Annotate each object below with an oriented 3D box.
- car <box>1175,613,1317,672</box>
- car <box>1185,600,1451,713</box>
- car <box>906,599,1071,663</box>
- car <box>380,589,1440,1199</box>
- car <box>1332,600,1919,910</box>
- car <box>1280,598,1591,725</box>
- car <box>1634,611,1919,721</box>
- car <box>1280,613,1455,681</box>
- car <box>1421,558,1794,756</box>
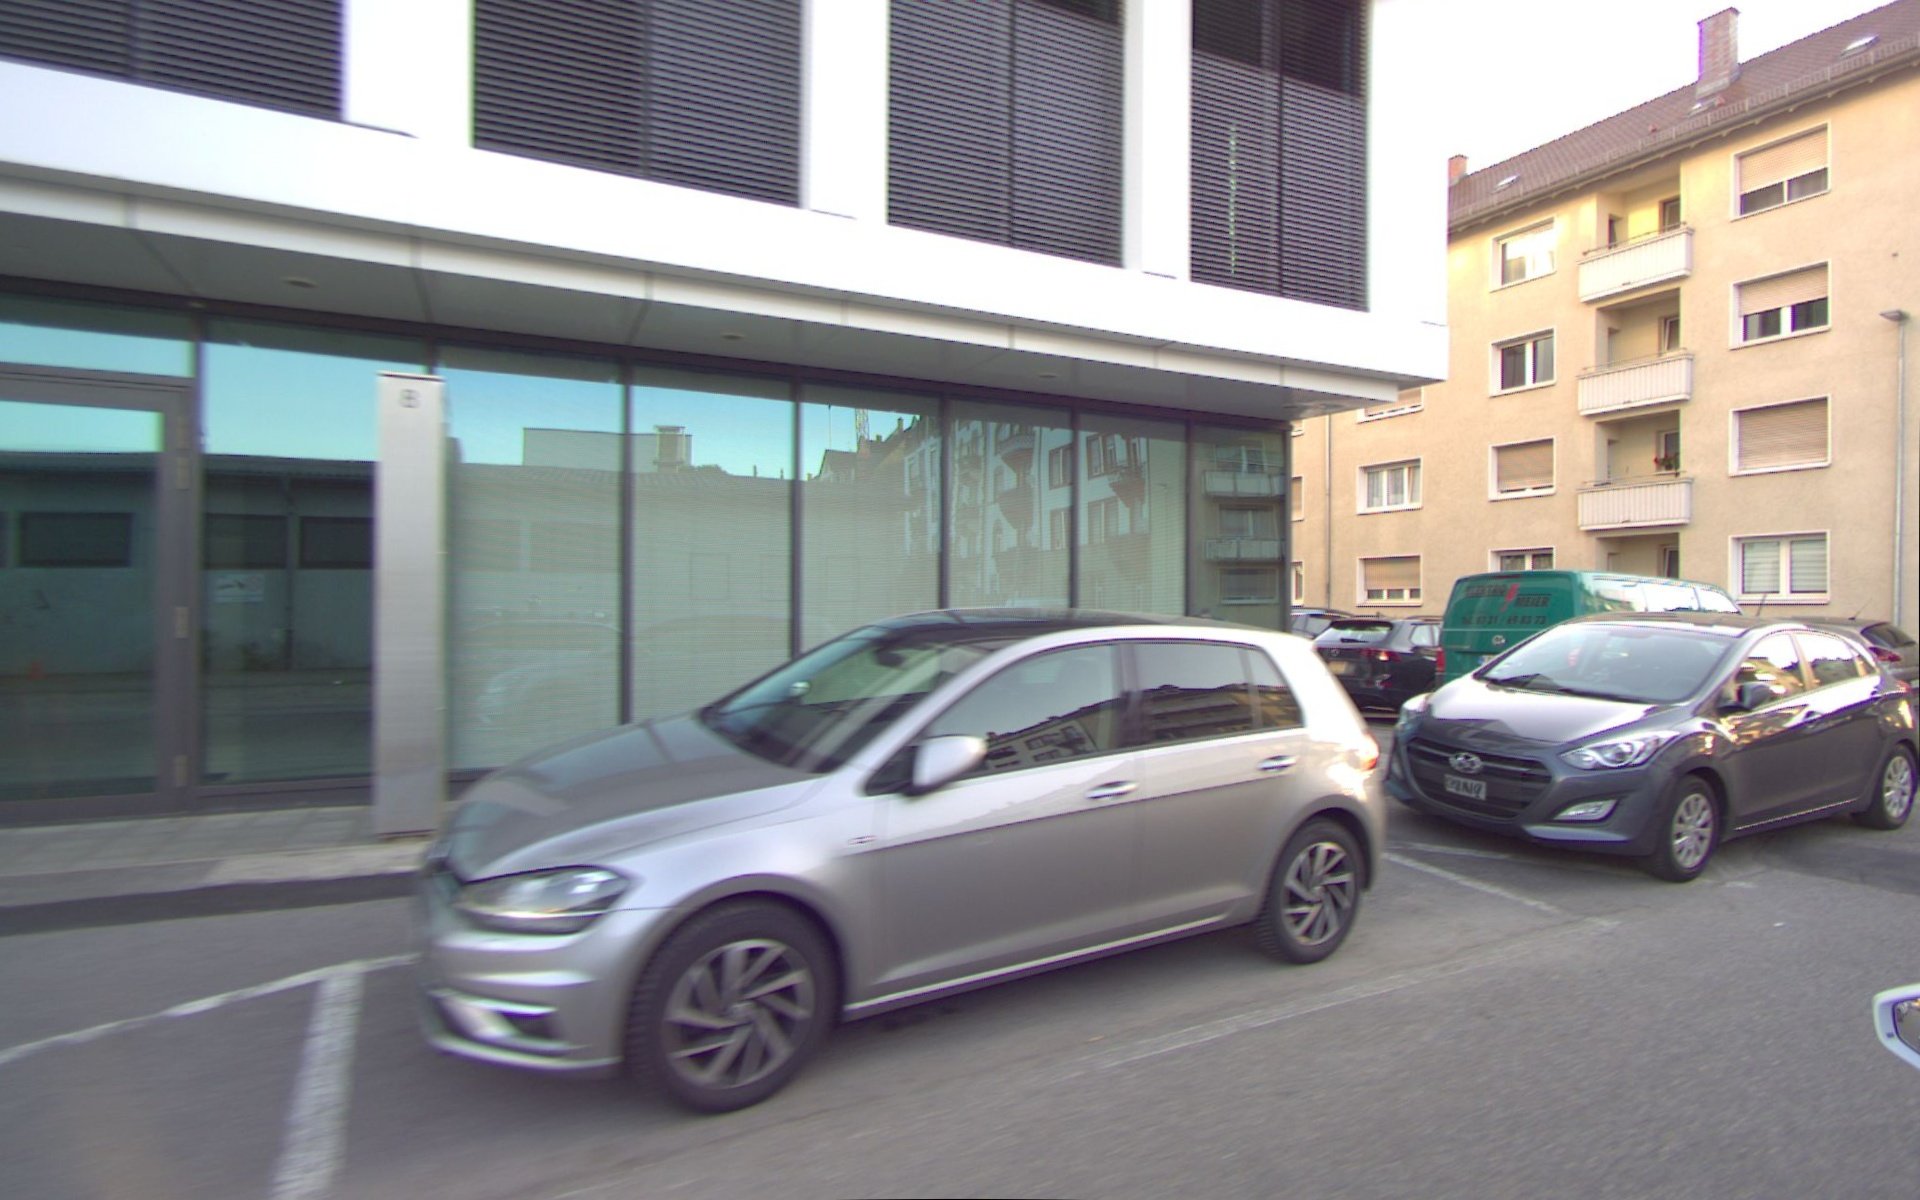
[{"bbox_3d":[8.544,1.217,30.267,1.858,1.504,3.918,-4,1,-29],"label":"car"},{"bbox_3d":[5.984,0.940,16.681,4.277,1.681,1.722,3,-2,-28],"label":"car"},{"bbox_3d":[0.836,0.900,28.668,4.410,1.633,1.722,3,-2,-28],"label":"car"},{"bbox_3d":[-0.052,0.768,4.234,4.136,1.499,1.701,1,3,-31],"label":"car"},{"bbox_3d":[4.797,0.817,6.919,4.277,1.499,1.772,1,3,-28],"label":"car"},{"bbox_3d":[6.764,0.868,14.216,4.277,1.570,1.772,3,-2,-28],"label":"car"},{"bbox_3d":[14.904,1.081,18.265,1.858,1.639,3.989,-4,1,-29],"label":"car"},{"bbox_3d":[10.567,1.152,26.303,1.858,1.504,3.918,-4,1,-29],"label":"car"},{"bbox_3d":[7.859,0.649,12.101,4.631,2.006,1.790,2,-1,-29],"label":"car"}]
